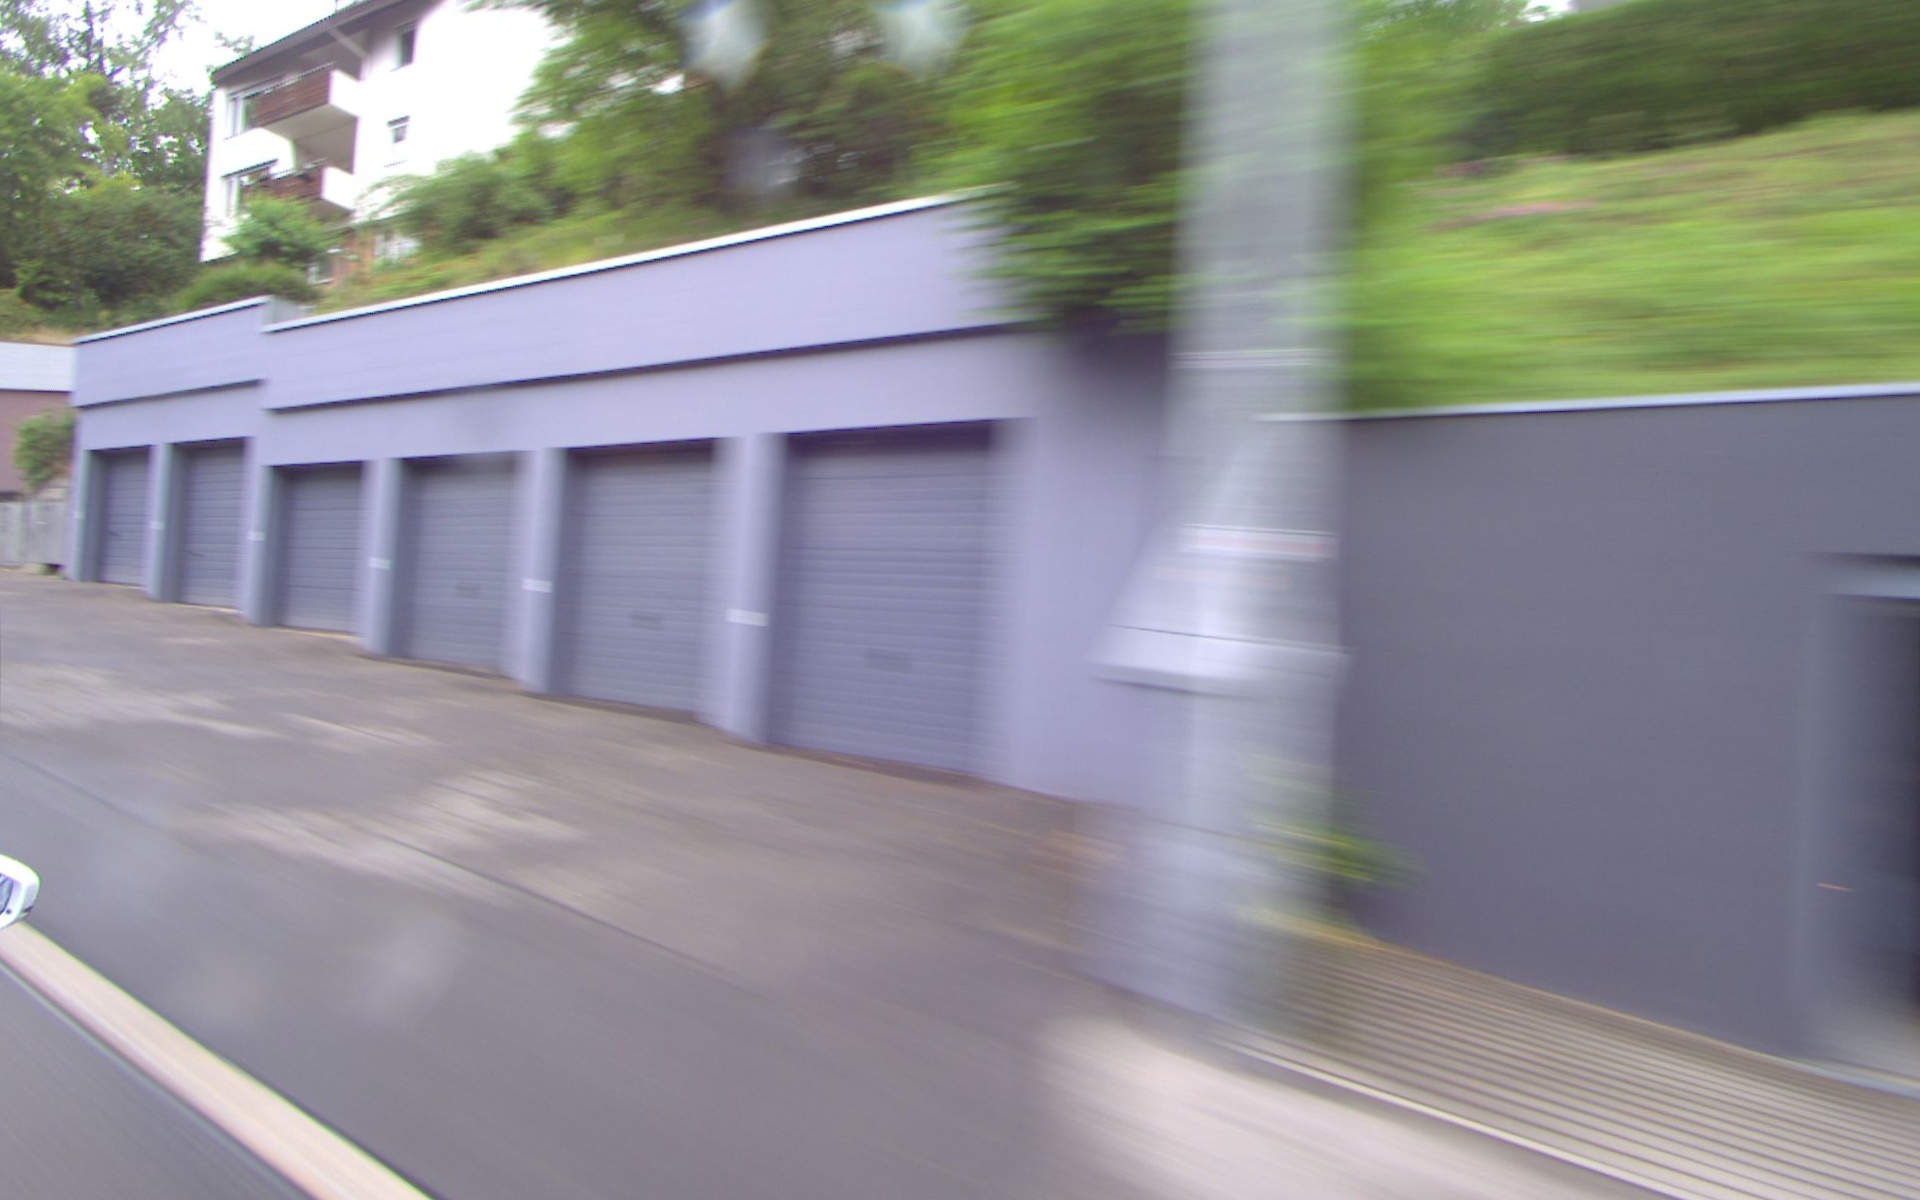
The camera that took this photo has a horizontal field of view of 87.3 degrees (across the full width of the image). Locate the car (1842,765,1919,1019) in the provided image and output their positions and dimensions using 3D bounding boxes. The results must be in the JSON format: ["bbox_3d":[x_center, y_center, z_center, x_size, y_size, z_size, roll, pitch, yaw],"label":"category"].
[{"bbox_3d":[6.875,1.874,6.264,1.630,1.434,3.690,3,-6,36],"label":"car"}]
